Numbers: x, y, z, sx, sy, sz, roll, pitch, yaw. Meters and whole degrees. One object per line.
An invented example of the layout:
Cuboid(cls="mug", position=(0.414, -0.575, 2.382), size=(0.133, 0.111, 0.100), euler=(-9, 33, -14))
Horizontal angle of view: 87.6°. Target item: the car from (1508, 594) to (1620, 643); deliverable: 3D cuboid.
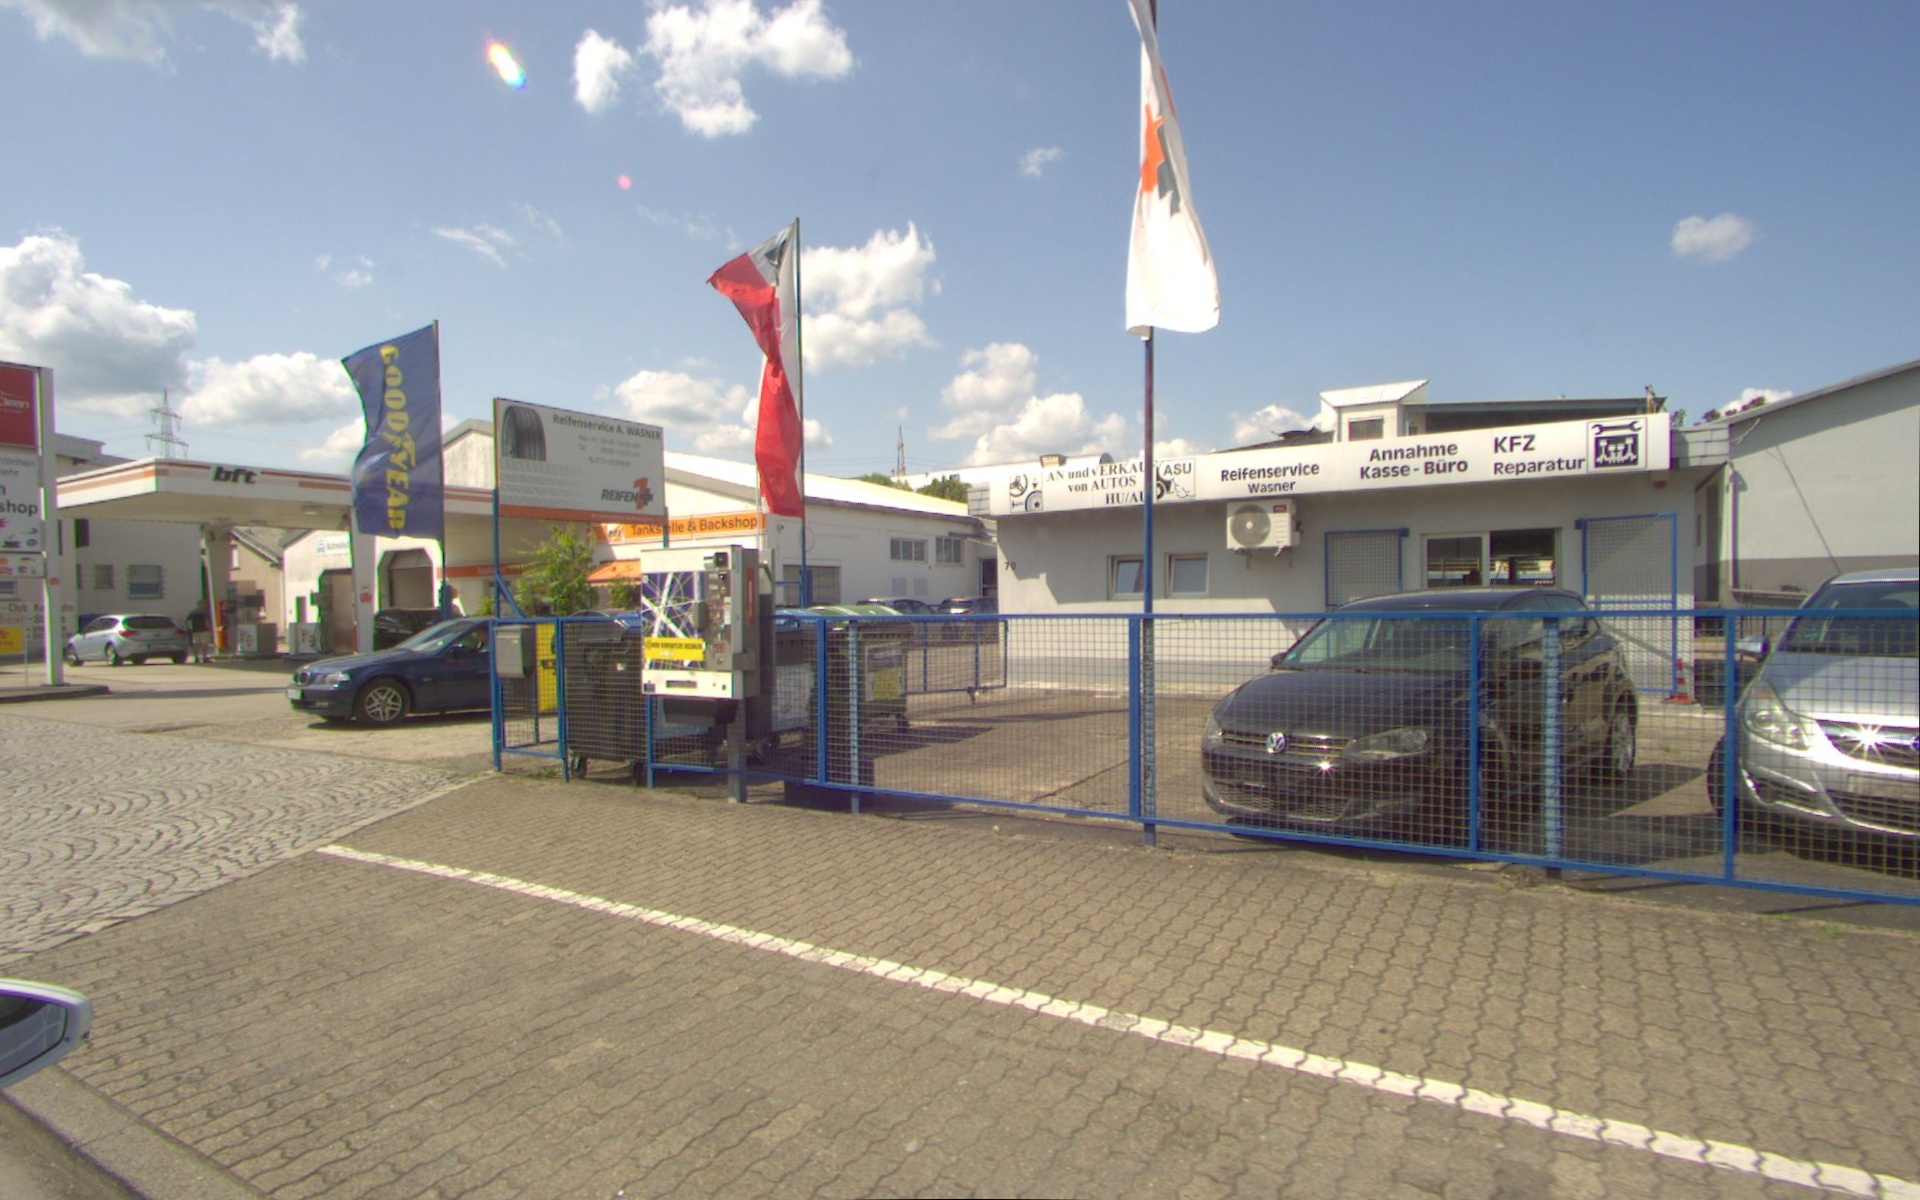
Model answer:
Cuboid(cls="car", position=(22.594, 0.688, 37.570), size=(3.545, 1.764, 1.534), euler=(0, -1, 31))

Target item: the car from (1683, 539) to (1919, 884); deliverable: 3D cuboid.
Cuboid(cls="car", position=(5.840, 0.536, 5.810), size=(4.219, 1.524, 1.811), euler=(2, -3, -42))

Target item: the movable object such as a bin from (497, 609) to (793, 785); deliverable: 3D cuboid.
Cuboid(cls="movable object such as a bin", position=(-2.794, 0.804, 9.077), size=(1.684, 1.364, 1.960), euler=(-1, -2, 31))

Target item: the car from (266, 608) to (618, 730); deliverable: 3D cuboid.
Cuboid(cls="car", position=(-6.969, 0.864, 13.840), size=(1.627, 1.426, 4.036), euler=(-1, -2, 39))

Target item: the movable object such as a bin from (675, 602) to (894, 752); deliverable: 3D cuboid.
Cuboid(cls="movable object such as a bin", position=(-1.845, 0.778, 10.644), size=(1.740, 1.428, 1.530), euler=(-1, -2, 31))

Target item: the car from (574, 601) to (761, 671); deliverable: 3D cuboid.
Cuboid(cls="car", position=(-6.847, 0.810, 23.826), size=(1.747, 1.443, 4.124), euler=(-1, 0, 33))

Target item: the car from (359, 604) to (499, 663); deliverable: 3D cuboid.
Cuboid(cls="car", position=(-15.715, 0.925, 29.582), size=(4.427, 1.540, 1.679), euler=(1, 1, 32))

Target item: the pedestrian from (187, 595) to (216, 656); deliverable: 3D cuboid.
Cuboid(cls="pedestrian", position=(-22.622, 0.754, 29.855), size=(0.569, 1.799, 0.496), euler=(-1, -1, 30))

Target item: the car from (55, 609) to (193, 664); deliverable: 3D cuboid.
Cuboid(cls="car", position=(-24.805, 1.065, 29.678), size=(4.357, 1.490, 1.689), euler=(-2, 1, 30))

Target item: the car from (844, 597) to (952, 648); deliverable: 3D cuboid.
Cuboid(cls="car", position=(-1.863, 0.677, 31.055), size=(1.507, 1.443, 3.574), euler=(-1, 0, 33))

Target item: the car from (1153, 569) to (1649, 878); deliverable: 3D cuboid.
Cuboid(cls="car", position=(3.168, 0.590, 6.799), size=(3.867, 1.482, 1.612), euler=(-2, 0, -42))

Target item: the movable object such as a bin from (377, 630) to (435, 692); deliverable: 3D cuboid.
Cuboid(cls="movable object such as a bin", position=(-9.364, 1.016, 16.923), size=(0.696, 1.023, 0.580), euler=(-1, -2, 31))

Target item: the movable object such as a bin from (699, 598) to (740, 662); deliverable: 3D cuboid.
Cuboid(cls="movable object such as a bin", position=(-5.412, 0.659, 22.540), size=(0.696, 1.410, 0.579), euler=(0, 1, 30))

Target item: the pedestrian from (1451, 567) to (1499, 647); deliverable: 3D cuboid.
Cuboid(cls="pedestrian", position=(8.653, 0.133, 16.849), size=(0.624, 1.318, 0.699), euler=(-1, -1, 20))

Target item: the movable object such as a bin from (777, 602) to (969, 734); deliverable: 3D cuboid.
Cuboid(cls="movable object such as a bin", position=(-1.020, 0.781, 11.990), size=(1.740, 1.428, 1.530), euler=(-1, -2, 31))
